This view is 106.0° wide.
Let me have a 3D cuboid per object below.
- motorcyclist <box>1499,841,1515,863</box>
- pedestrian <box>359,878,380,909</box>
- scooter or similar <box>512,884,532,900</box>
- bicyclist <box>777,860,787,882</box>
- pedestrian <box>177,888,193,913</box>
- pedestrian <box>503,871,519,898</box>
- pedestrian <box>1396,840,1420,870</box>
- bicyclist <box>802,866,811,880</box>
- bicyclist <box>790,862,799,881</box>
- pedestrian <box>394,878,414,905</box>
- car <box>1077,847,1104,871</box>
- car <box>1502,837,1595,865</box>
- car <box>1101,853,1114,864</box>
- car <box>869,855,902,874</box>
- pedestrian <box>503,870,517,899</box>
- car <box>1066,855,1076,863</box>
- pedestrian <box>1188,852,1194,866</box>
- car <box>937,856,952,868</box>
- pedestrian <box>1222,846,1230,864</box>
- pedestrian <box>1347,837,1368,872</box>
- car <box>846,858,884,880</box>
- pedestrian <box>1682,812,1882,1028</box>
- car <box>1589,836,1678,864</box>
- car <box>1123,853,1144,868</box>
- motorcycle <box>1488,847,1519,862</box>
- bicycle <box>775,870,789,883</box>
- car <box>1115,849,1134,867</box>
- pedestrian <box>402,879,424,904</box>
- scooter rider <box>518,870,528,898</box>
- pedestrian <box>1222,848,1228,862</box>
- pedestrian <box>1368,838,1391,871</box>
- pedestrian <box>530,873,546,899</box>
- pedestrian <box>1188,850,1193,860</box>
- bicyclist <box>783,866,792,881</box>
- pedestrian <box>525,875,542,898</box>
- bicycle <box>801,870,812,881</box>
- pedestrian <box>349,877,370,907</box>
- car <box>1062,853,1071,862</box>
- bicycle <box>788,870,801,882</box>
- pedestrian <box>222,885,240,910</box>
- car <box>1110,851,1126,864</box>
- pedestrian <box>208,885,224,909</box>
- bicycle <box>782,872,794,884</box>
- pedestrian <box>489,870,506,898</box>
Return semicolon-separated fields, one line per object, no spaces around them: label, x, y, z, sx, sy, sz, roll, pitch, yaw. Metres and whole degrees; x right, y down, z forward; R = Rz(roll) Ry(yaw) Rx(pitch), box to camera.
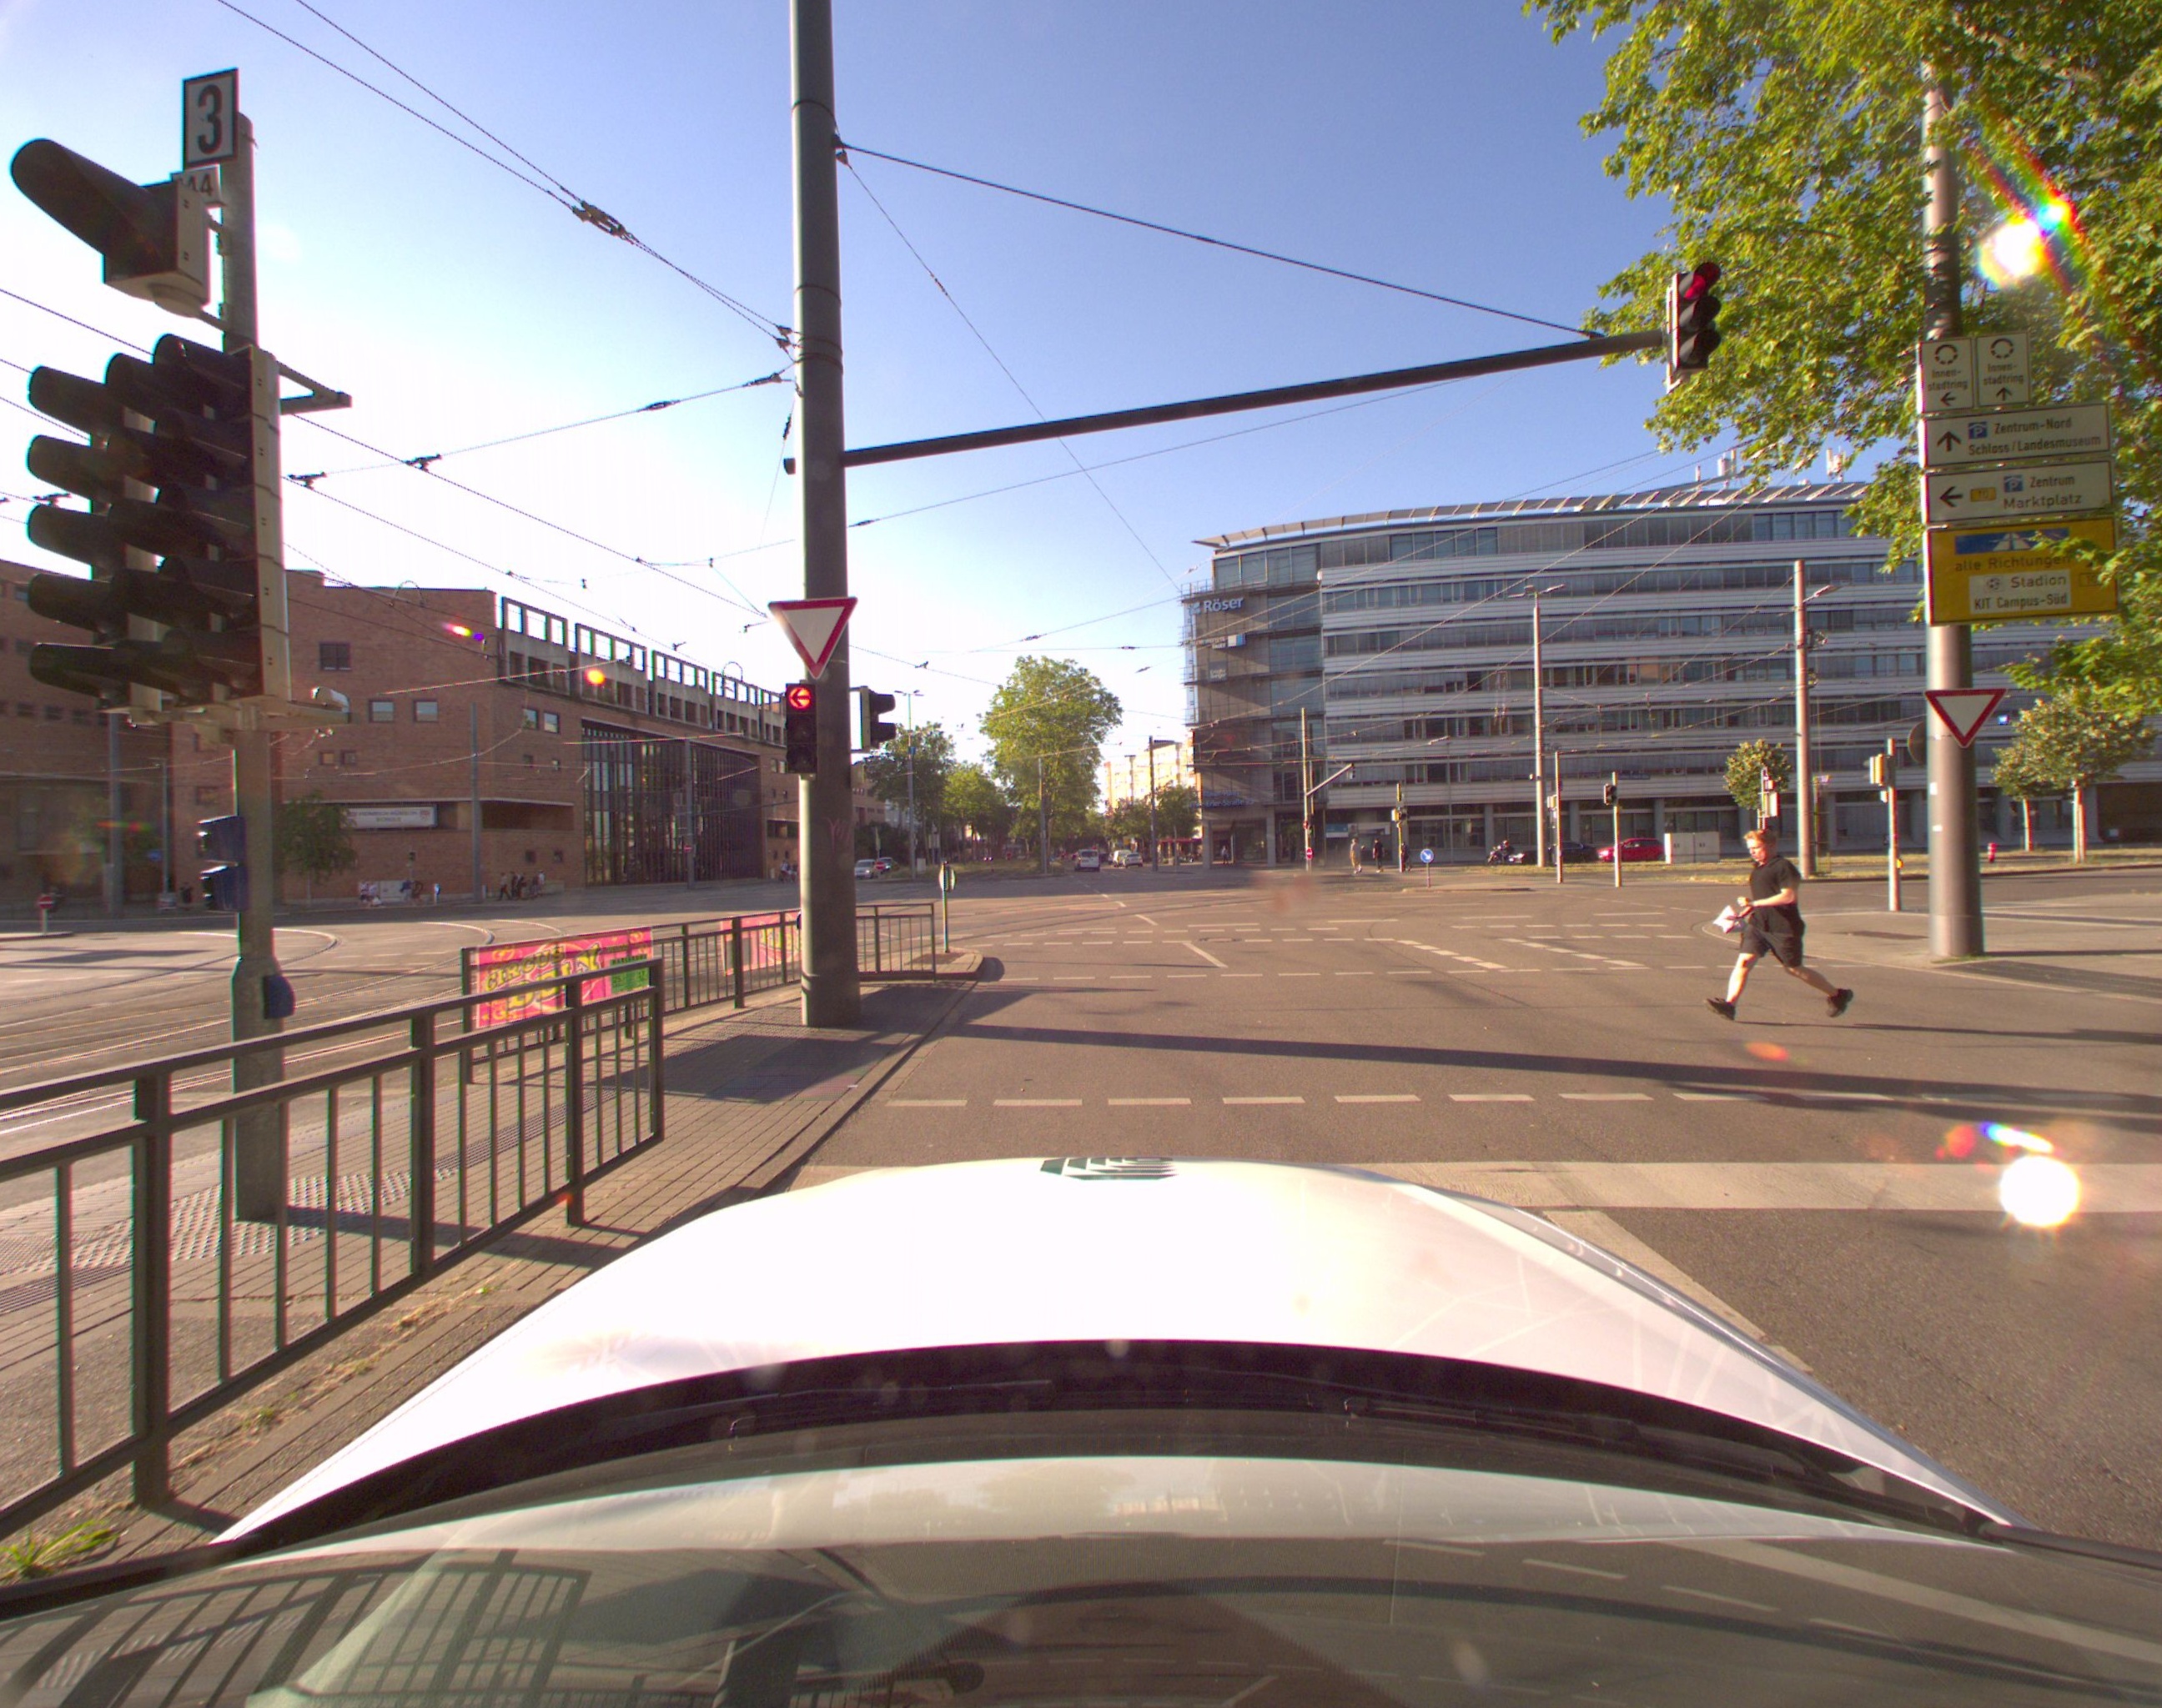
motorcyclist;25.631;-0.134;49.010;0.708;1.275;0.460;-2;0;5
pedestrian;-38.174;2.108;43.714;0.595;1.648;0.551;-2;0;13
scooter or similar;-33.731;2.283;49.150;0.956;0.899;0.173;-2;0;-45
bicyclist;-24.343;1.365;66.282;0.534;1.731;0.581;-2;0;1
pedestrian;-53.138;2.764;48.287;0.583;1.463;0.537;-2;0;34
pedestrian;-35.946;1.935;51.359;0.567;1.683;0.552;-2;0;23
pedestrian;17.138;0.055;42.644;0.943;1.564;0.899;-2;0;9
bicyclist;-24.340;1.705;72.275;0.503;1.179;0.581;-2;0;1
bicyclist;-23.399;1.426;66.523;0.456;1.603;0.581;-2;0;1
pedestrian;-38.080;2.115;45.808;0.563;1.453;0.617;-2;0;18
car;0.846;0.411;69.282;1.952;1.848;5.336;-2;0;4
car;26.445;-0.174;46.174;4.136;1.398;1.789;-2;0;7
car;4.089;0.660;126.778;1.986;1.618;4.002;-2;0;2
car;-18.119;0.967;75.528;1.987;1.640;4.001;-2;0;1
pedestrian;-34.743;1.852;49.534;0.554;1.683;0.585;-2;0;-44
car;-1.805;0.963;147.178;1.792;1.442;3.999;0;-1;0
pedestrian;14.157;0.623;104.862;0.741;1.714;0.612;-2;0;1
car;-23.730;1.355;141.729;1.987;2.013;3.999;-2;0;-1
pedestrian;12.141;0.106;68.065;0.608;1.507;0.580;-2;0;10
pedestrian;14.745;0.024;43.454;0.859;1.788;0.873;-2;0;8
car;-18.009;1.223;67.953;1.987;1.640;4.001;-2;0;1
pedestrian;6.037;0.540;7.066;1.086;1.748;0.742;-1;0;-2
car;32.816;-0.251;48.445;3.966;1.393;1.789;-4;0;7
car;5.287;0.624;82.822;1.986;1.376;4.002;-2;0;2
motorcycle;25.443;0.023;49.026;1.560;0.810;0.468;-2;0;6
bicycle;-24.337;1.823;66.312;0.540;0.963;1.587;-2;0;2
car;4.740;0.453;89.640;1.986;1.860;4.002;-2;0;2
pedestrian;-37.117;2.079;45.232;0.597;1.339;0.684;-2;0;17
scooter rider;-33.721;1.811;49.193;0.441;1.647;0.226;-2;0;-44
pedestrian;15.458;0.138;87.599;0.608;1.507;0.580;-2;0;9
pedestrian;16.028;0.032;43.694;0.907;1.685;1.038;-2;0;9
pedestrian;-34.794;2.023;52.201;0.605;1.625;0.622;-2;0;35
pedestrian;14.282;0.165;106.072;0.575;1.289;0.910;-2;0;2
bicyclist;-25.021;1.668;69.541;0.503;1.304;0.581;-2;0;1
pedestrian;-34.434;2.044;51.215;0.634;1.421;0.603;-2;0;33
bicycle;-24.357;1.907;72.305;0.449;0.963;1.348;-2;0;2
pedestrian;-39.158;2.062;44.198;0.592;1.614;0.591;-2;0;11
car;-3.674;0.838;205.630;1.986;2.013;4.001;-2;0;1
bicycle;-23.427;1.774;66.575;0.471;0.963;1.576;-2;0;2
pedestrian;-50.479;2.591;48.356;0.508;1.463;0.466;-2;0;-6
car;4.817;0.480;105.296;1.986;1.618;4.002;-2;0;2
pedestrian;-52.377;2.619;49.315;0.549;1.427;0.563;-2;0;32
bicycle;-25.007;2.052;69.491;0.466;0.963;1.320;-2;0;2
pedestrian;-35.665;1.855;49.754;0.642;1.683;0.626;-2;0;38
